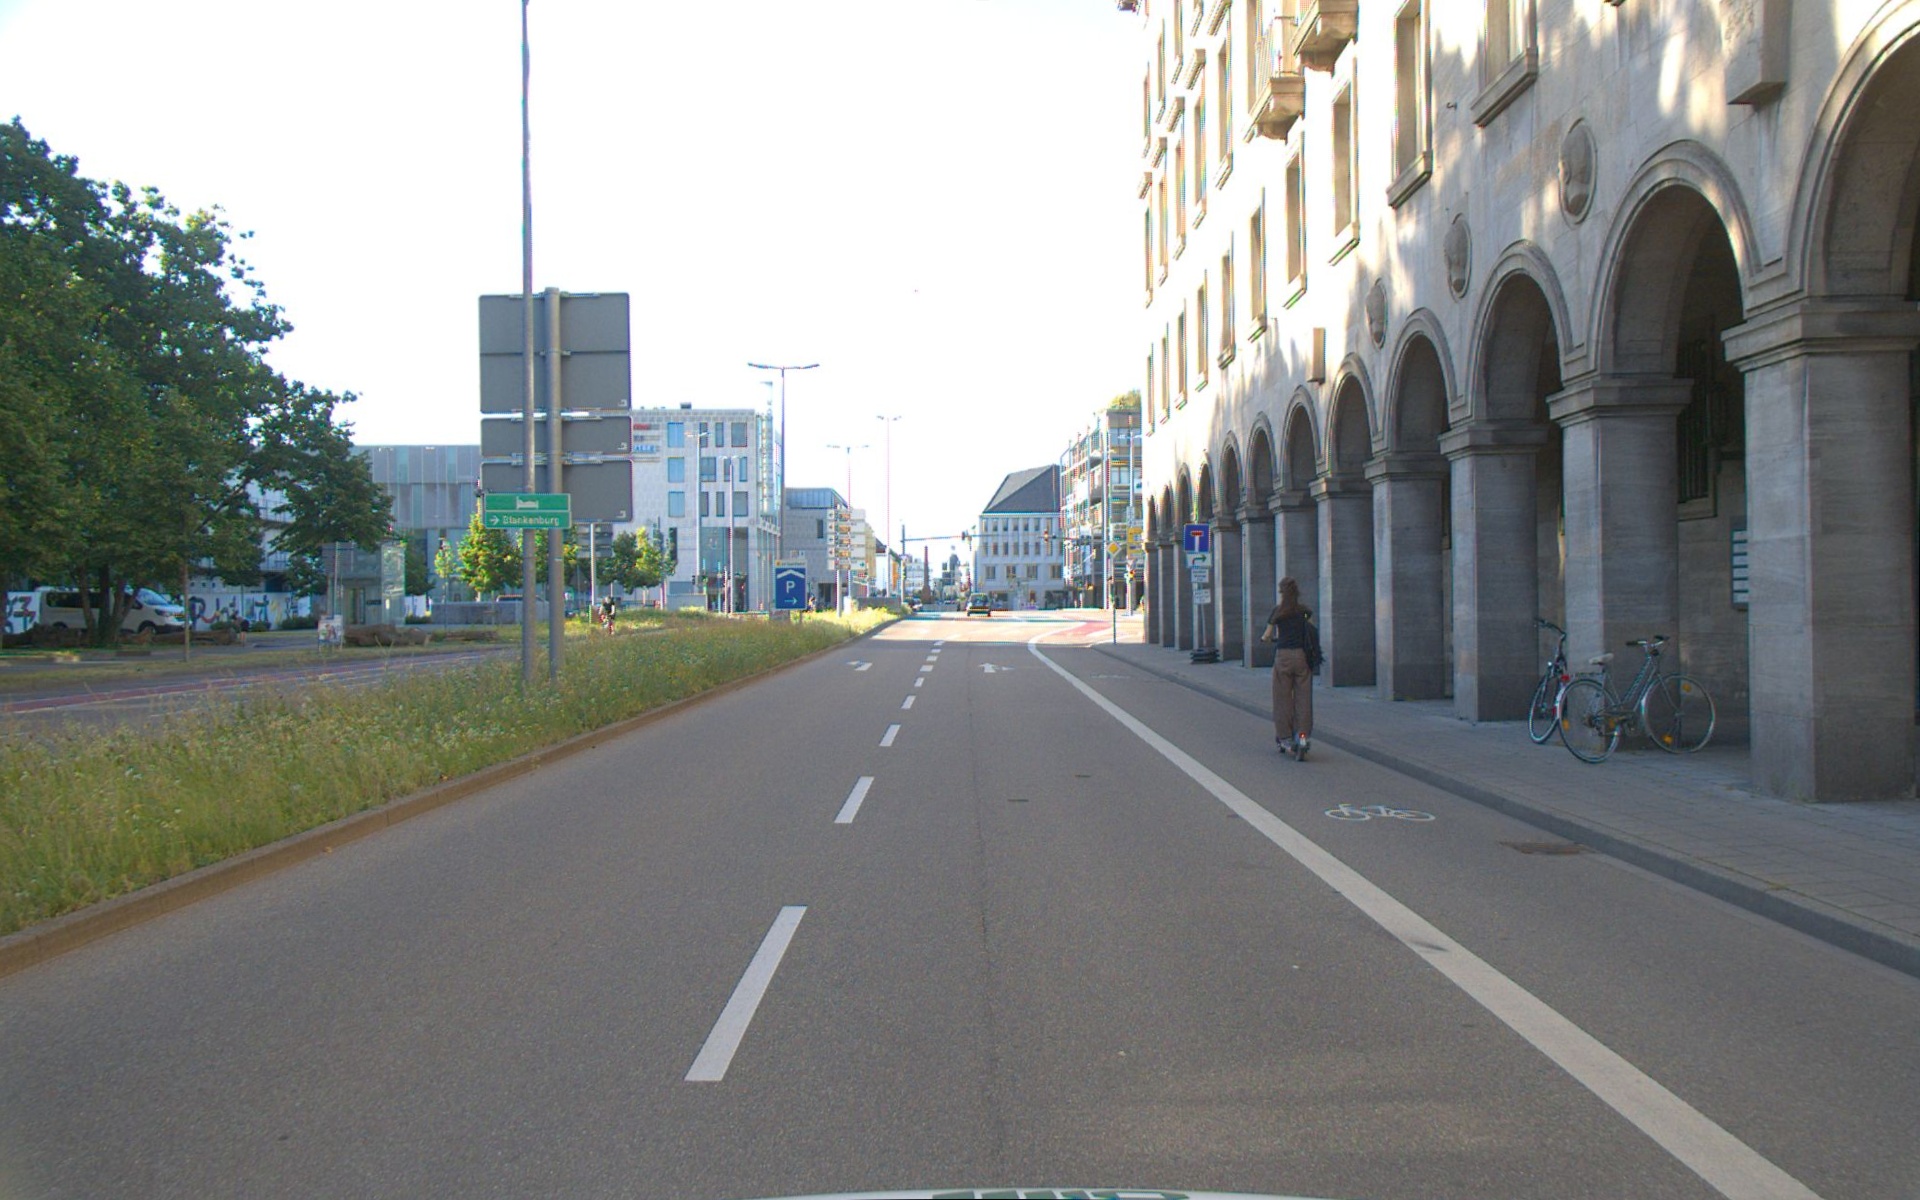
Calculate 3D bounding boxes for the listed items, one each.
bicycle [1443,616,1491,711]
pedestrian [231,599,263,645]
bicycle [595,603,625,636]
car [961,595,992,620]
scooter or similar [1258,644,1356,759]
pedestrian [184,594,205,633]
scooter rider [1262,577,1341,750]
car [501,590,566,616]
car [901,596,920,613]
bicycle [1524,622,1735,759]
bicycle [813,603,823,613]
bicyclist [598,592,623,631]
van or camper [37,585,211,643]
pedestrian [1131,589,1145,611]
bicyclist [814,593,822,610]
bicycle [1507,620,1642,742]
[{"bbox_3d":[6.215,0.756,20.232,0.460,1.069,1.714,-2,0,19],"label":"bicycle"},{"bbox_3d":[-24.572,0.746,57.006,0.599,1.554,0.943,-1,0,6],"label":"pedestrian"},{"bbox_3d":[-14.690,0.832,69.449,0.742,1.297,2.258,-1,-2,0],"label":"bicycle"},{"bbox_3d":[1.057,0.501,110.668,1.741,1.591,3.786,-1,0,-5],"label":"car"},{"bbox_3d":[3.384,0.972,16.190,0.545,1.049,1.115,-1,0,-10],"label":"scooter or similar"},{"bbox_3d":[-34.463,0.590,74.487,0.567,1.718,0.835,-1,0,-1],"label":"pedestrian"},{"bbox_3d":[3.358,0.613,16.303,0.551,1.660,0.648,-1,0,-10],"label":"scooter rider"},{"bbox_3d":[-32.523,0.246,126.263,4.552,1.842,1.869,-1,-2,-7],"label":"car"},{"bbox_3d":[-5.494,0.475,182.902,1.952,1.773,4.647,0,1,0],"label":"car"},{"bbox_3d":[5.769,0.763,14.264,1.679,1.069,0.526,-2,0,-15],"label":"bicycle"},{"bbox_3d":[-12.927,0.728,150.396,0.599,0.877,1.952,-1,0,6],"label":"bicycle"},{"bbox_3d":[-14.693,0.497,69.543,0.731,1.618,1.202,-1,-2,1],"label":"bicyclist"},{"bbox_3d":[-32.249,0.553,63.899,5.545,2.049,2.258,-1,-2,2],"label":"van or camper"},{"bbox_3d":[14.065,-0.003,130.559,0.805,1.779,1.041,-2,-1,22],"label":"pedestrian"},{"bbox_3d":[-12.932,0.146,150.315,0.594,1.515,0.681,-1,0,6],"label":"bicyclist"},{"bbox_3d":[6.035,0.770,16.192,0.601,1.069,1.702,-3,0,43],"label":"bicycle"}]
